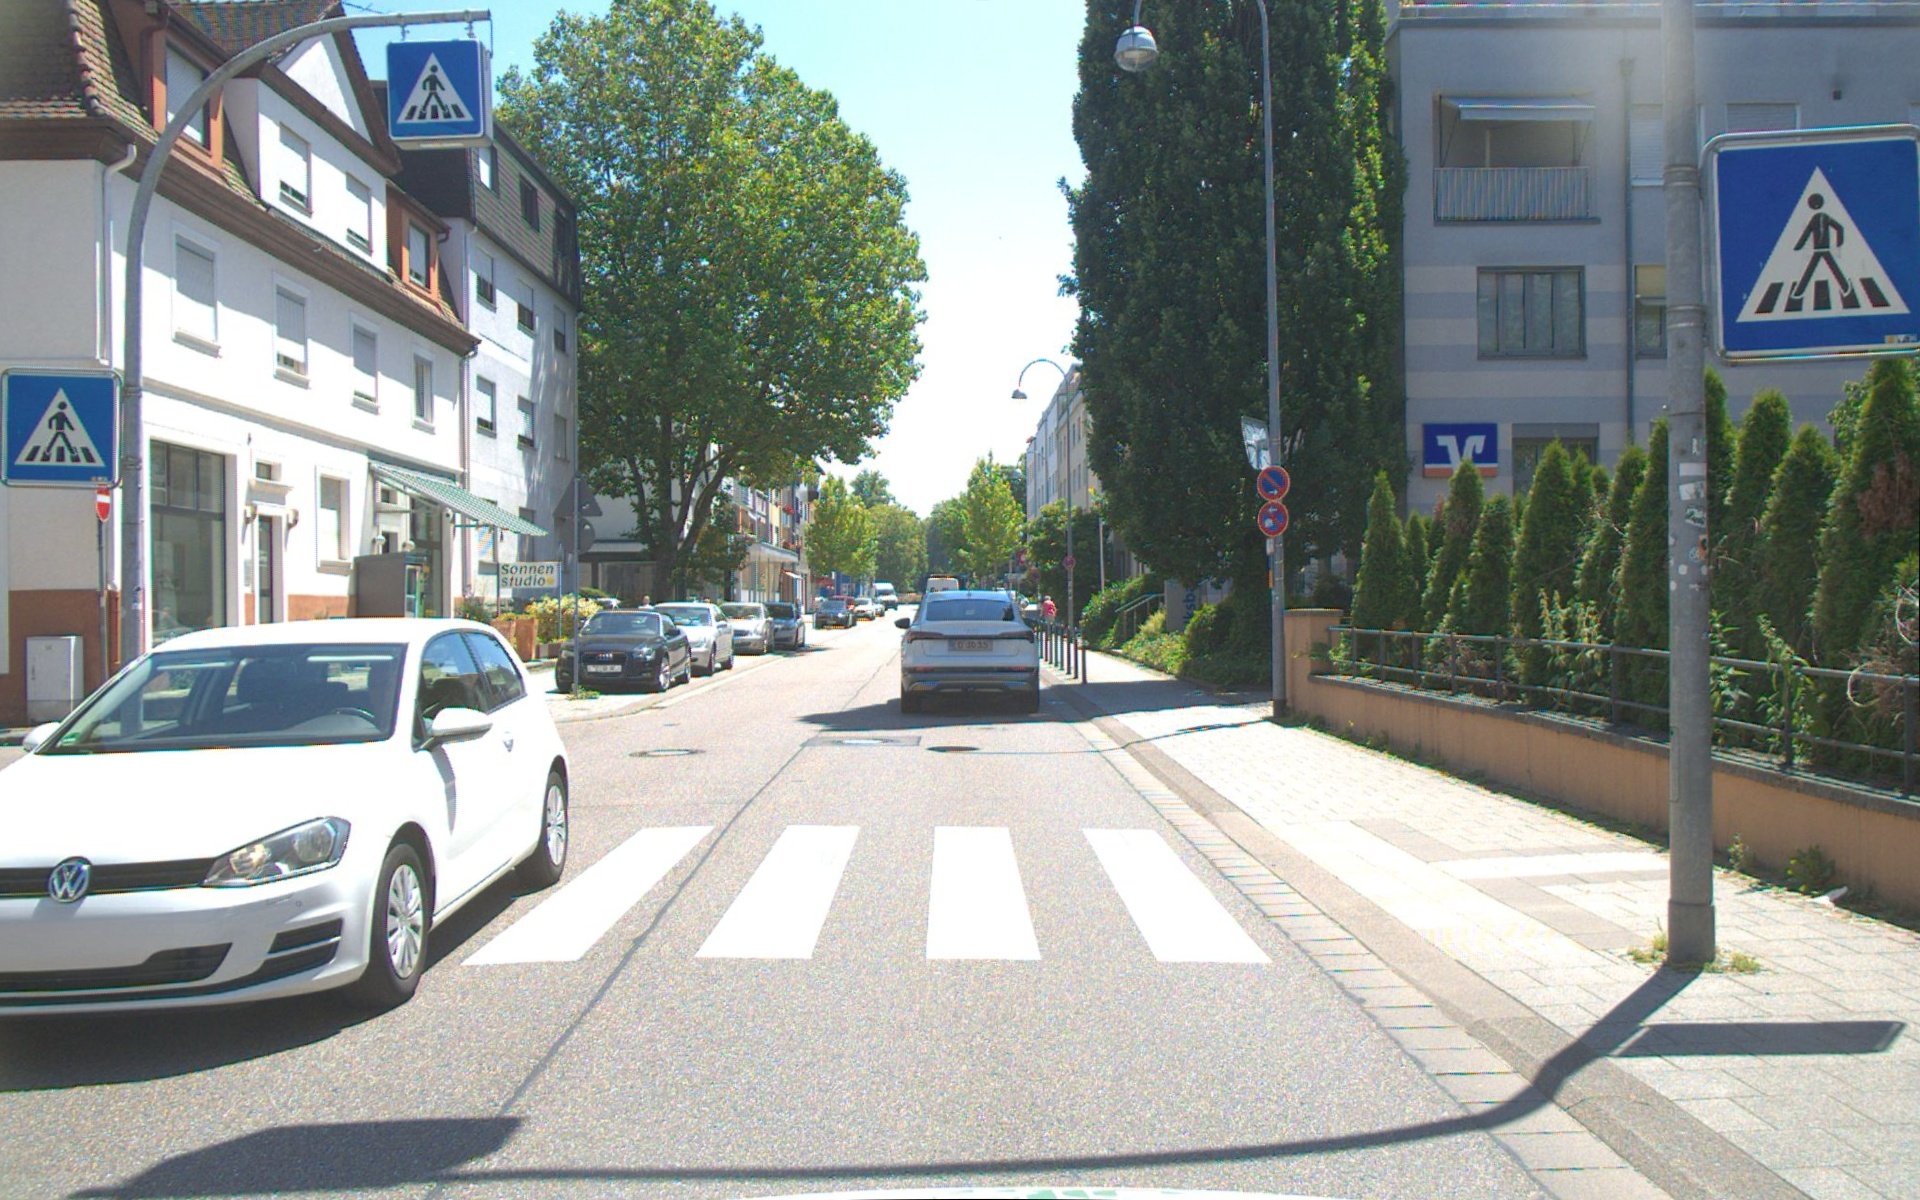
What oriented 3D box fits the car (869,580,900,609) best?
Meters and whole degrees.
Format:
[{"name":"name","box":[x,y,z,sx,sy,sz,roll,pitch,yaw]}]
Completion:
[{"name":"car","box":[-7.441,-0.541,162.523,2.000,2.676,7.089,-2,0,-10]}]

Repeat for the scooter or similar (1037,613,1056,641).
[{"name":"scooter or similar","box":[3.106,0.950,59.423,0.650,0.980,0.754,-1,0,-1]}]

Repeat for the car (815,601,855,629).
[{"name":"car","box":[-6.664,0.777,88.605,1.858,1.442,5.046,1,0,-1]}]

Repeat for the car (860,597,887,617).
[{"name":"car","box":[-6.750,0.516,129.256,1.716,1.478,4.401,1,0,1]}]

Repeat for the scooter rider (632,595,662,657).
[{"name":"scooter rider","box":[-8.364,0.686,44.238,0.576,1.603,0.877,2,0,1]}]

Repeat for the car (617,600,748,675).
[{"name":"car","box":[-5.914,0.752,35.923,1.940,1.477,5.357,0,0,0]}]

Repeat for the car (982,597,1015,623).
[{"name":"car","box":[2.244,0.553,95.917,1.857,1.463,4.545,-1,0,1]}]

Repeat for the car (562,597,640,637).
[{"name":"car","box":[-14.147,0.657,65.071,1.872,1.512,3.954,-1,0,-31]}]

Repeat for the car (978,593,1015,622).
[{"name":"car","box":[2.223,0.455,102.059,1.858,1.704,4.688,-2,0,-3]}]

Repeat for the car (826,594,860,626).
[{"name":"car","box":[-6.693,0.546,95.080,1.717,1.732,4.100,1,0,-1]}]

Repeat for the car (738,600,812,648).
[{"name":"car","box":[-5.928,0.741,53.542,1.941,1.477,5.149,0,0,-2]}]

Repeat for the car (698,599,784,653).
[{"name":"car","box":[-6.251,0.709,47.642,1.941,1.477,4.866,0,0,-2]}]

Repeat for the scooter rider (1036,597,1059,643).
[{"name":"scooter rider","box":[3.105,0.703,58.729,0.701,1.576,0.770,-2,0,-3]}]

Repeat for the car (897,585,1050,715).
[{"name":"car","box":[0.118,0.647,23.425,1.953,1.661,3.999,1,0,-2]}]

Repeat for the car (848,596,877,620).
[{"name":"car","box":[-6.942,0.582,118.387,1.716,1.646,4.401,1,0,1]}]

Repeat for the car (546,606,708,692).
[{"name":"car","box":[-5.882,0.814,29.854,1.902,1.397,5.097,0,0,0]}]

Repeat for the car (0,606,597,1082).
[{"name":"car","box":[-2.891,0.818,7.380,1.771,1.508,3.867,-2,0,-2]}]

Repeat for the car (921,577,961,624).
[{"name":"car","box":[-1.027,0.043,90.532,2.112,2.484,5.282,1,0,0]}]

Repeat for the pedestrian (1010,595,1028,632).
[{"name":"pedestrian","box":[2.728,0.610,76.705,0.686,1.655,0.783,-3,0,-2]}]

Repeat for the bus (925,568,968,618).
[{"name":"bus","box":[-0.881,-0.466,114.086,2.605,3.278,7.303,1,0,2]}]
